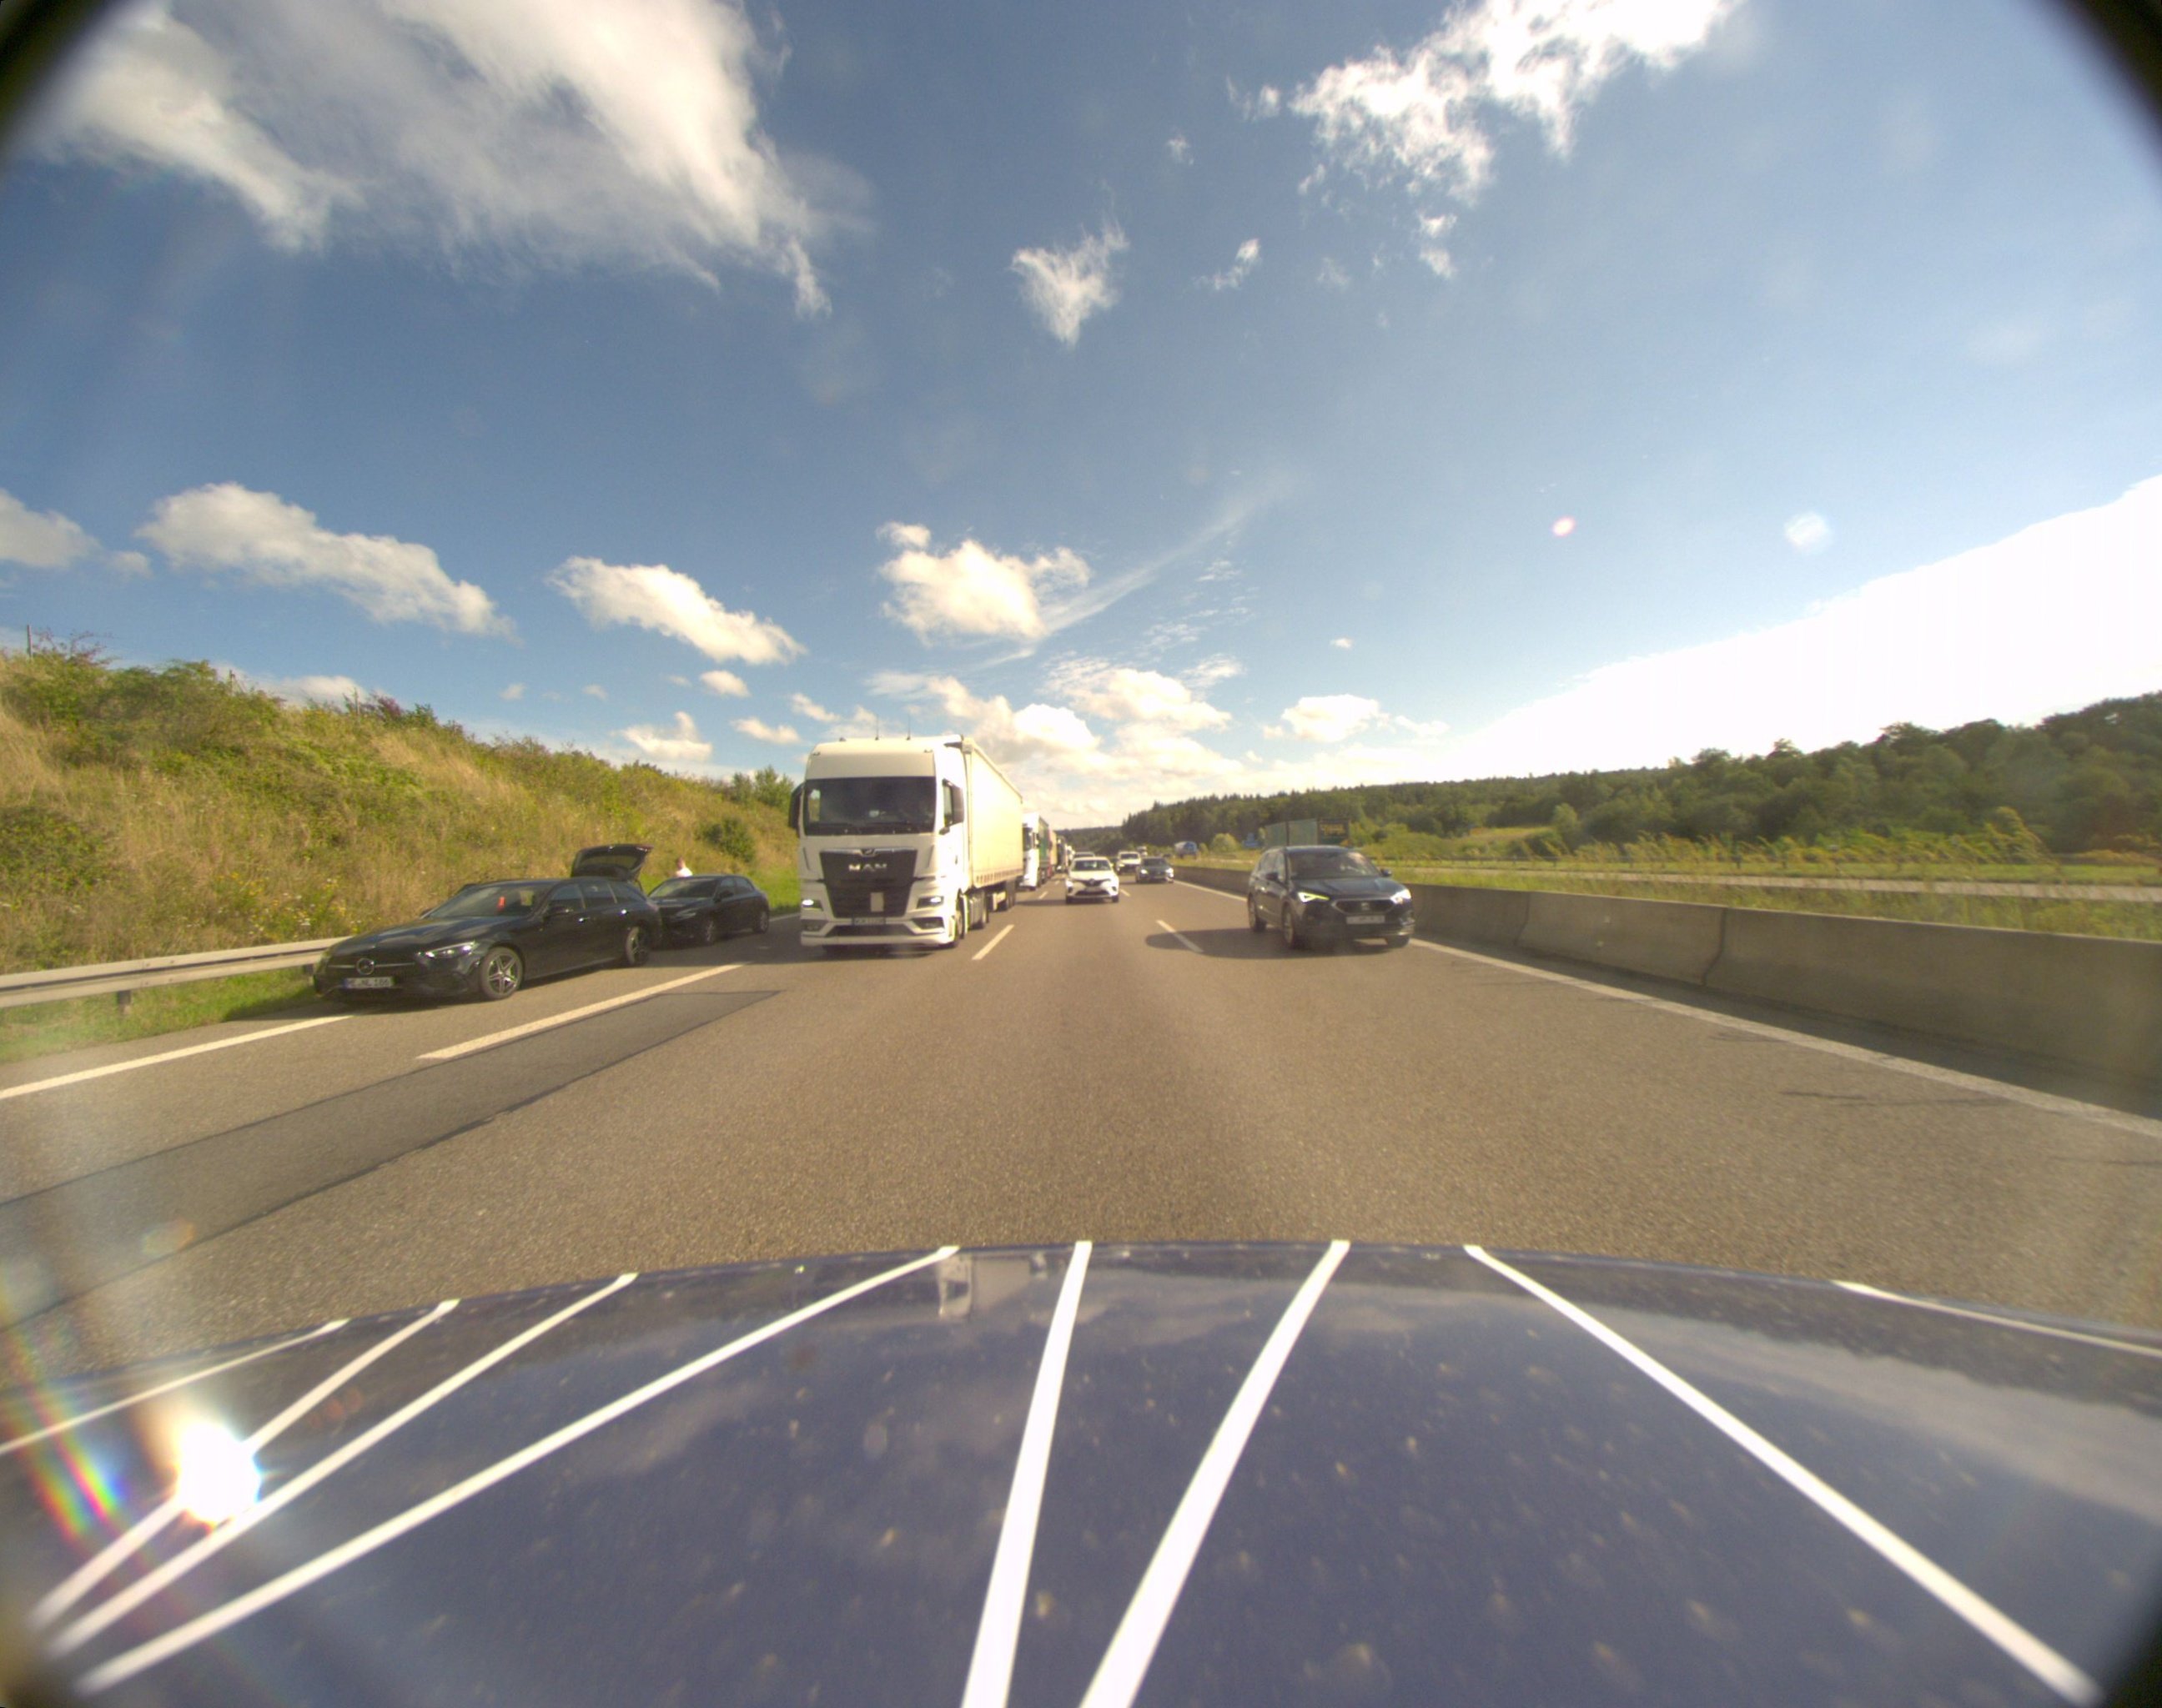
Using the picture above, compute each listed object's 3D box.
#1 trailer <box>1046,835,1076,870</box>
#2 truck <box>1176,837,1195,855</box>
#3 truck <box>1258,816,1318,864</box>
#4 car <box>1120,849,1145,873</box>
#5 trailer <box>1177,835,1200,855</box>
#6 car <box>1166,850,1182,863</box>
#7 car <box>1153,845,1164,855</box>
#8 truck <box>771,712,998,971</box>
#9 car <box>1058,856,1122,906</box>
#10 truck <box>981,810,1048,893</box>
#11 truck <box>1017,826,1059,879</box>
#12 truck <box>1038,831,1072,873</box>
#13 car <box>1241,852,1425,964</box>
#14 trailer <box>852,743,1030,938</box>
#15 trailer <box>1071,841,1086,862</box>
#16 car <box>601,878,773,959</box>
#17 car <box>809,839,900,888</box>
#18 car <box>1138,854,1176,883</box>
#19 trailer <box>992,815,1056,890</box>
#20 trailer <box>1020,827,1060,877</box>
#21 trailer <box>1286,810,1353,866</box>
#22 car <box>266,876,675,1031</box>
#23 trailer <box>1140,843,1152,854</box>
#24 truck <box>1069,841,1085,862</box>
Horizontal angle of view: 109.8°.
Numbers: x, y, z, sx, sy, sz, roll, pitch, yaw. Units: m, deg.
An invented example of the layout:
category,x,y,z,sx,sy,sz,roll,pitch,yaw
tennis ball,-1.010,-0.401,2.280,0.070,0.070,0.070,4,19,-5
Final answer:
category,x,y,z,sx,sy,sz,roll,pitch,yaw
trailer,-2.403,-0.187,92.841,2.722,3.937,8.712,-5,0,2
truck,19.836,-1.494,144.620,2.323,3.255,6.104,-5,1,-1
truck,19.539,-1.292,72.442,2.718,4.219,10.342,-2,1,0
car,4.298,0.598,64.045,1.779,1.923,4.214,-2,0,1
trailer,19.820,-1.679,140.190,2.327,3.265,10.874,-5,1,0
car,12.854,0.327,105.532,1.673,1.573,3.999,-5,1,0
car,16.035,-0.877,157.576,1.764,1.871,4.000,-5,1,0
truck,-3.464,-0.216,15.244,2.715,4.036,6.361,-2,1,0
car,0.369,0.905,27.536,2.026,1.511,5.299,-3,0,2
truck,-3.319,-0.158,39.627,2.653,3.846,6.995,-2,1,0
truck,-3.410,-0.149,61.466,2.809,3.916,5.824,-3,1,0
truck,-2.723,-0.211,83.365,2.747,4.014,10.203,-5,0,2
car,4.056,0.774,12.984,1.779,1.533,4.158,-2,1,1
trailer,-3.398,-0.292,22.590,2.709,4.058,12.943,-1,0,0
trailer,-0.469,-0.507,159.616,2.652,3.911,11.175,-5,0,2
car,-8.098,1.259,16.025,1.637,1.344,3.738,-2,0,0
car,-6.858,0.273,23.393,1.664,1.344,3.738,-2,0,0
car,4.292,0.798,43.443,1.779,1.451,4.158,-2,1,1
trailer,-3.244,-0.136,46.974,2.668,3.846,13.393,-2,1,0
trailer,-3.465,-0.207,67.770,2.799,3.916,13.067,-3,1,0
trailer,19.599,-1.244,62.998,2.732,4.219,8.551,-2,1,0
car,-7.964,1.156,10.712,1.905,1.504,4.737,-2,0,0
trailer,20.539,-1.699,240.910,2.806,3.508,8.953,-2,1,1
truck,-0.674,-0.499,153.128,2.655,3.902,6.942,-5,0,2
